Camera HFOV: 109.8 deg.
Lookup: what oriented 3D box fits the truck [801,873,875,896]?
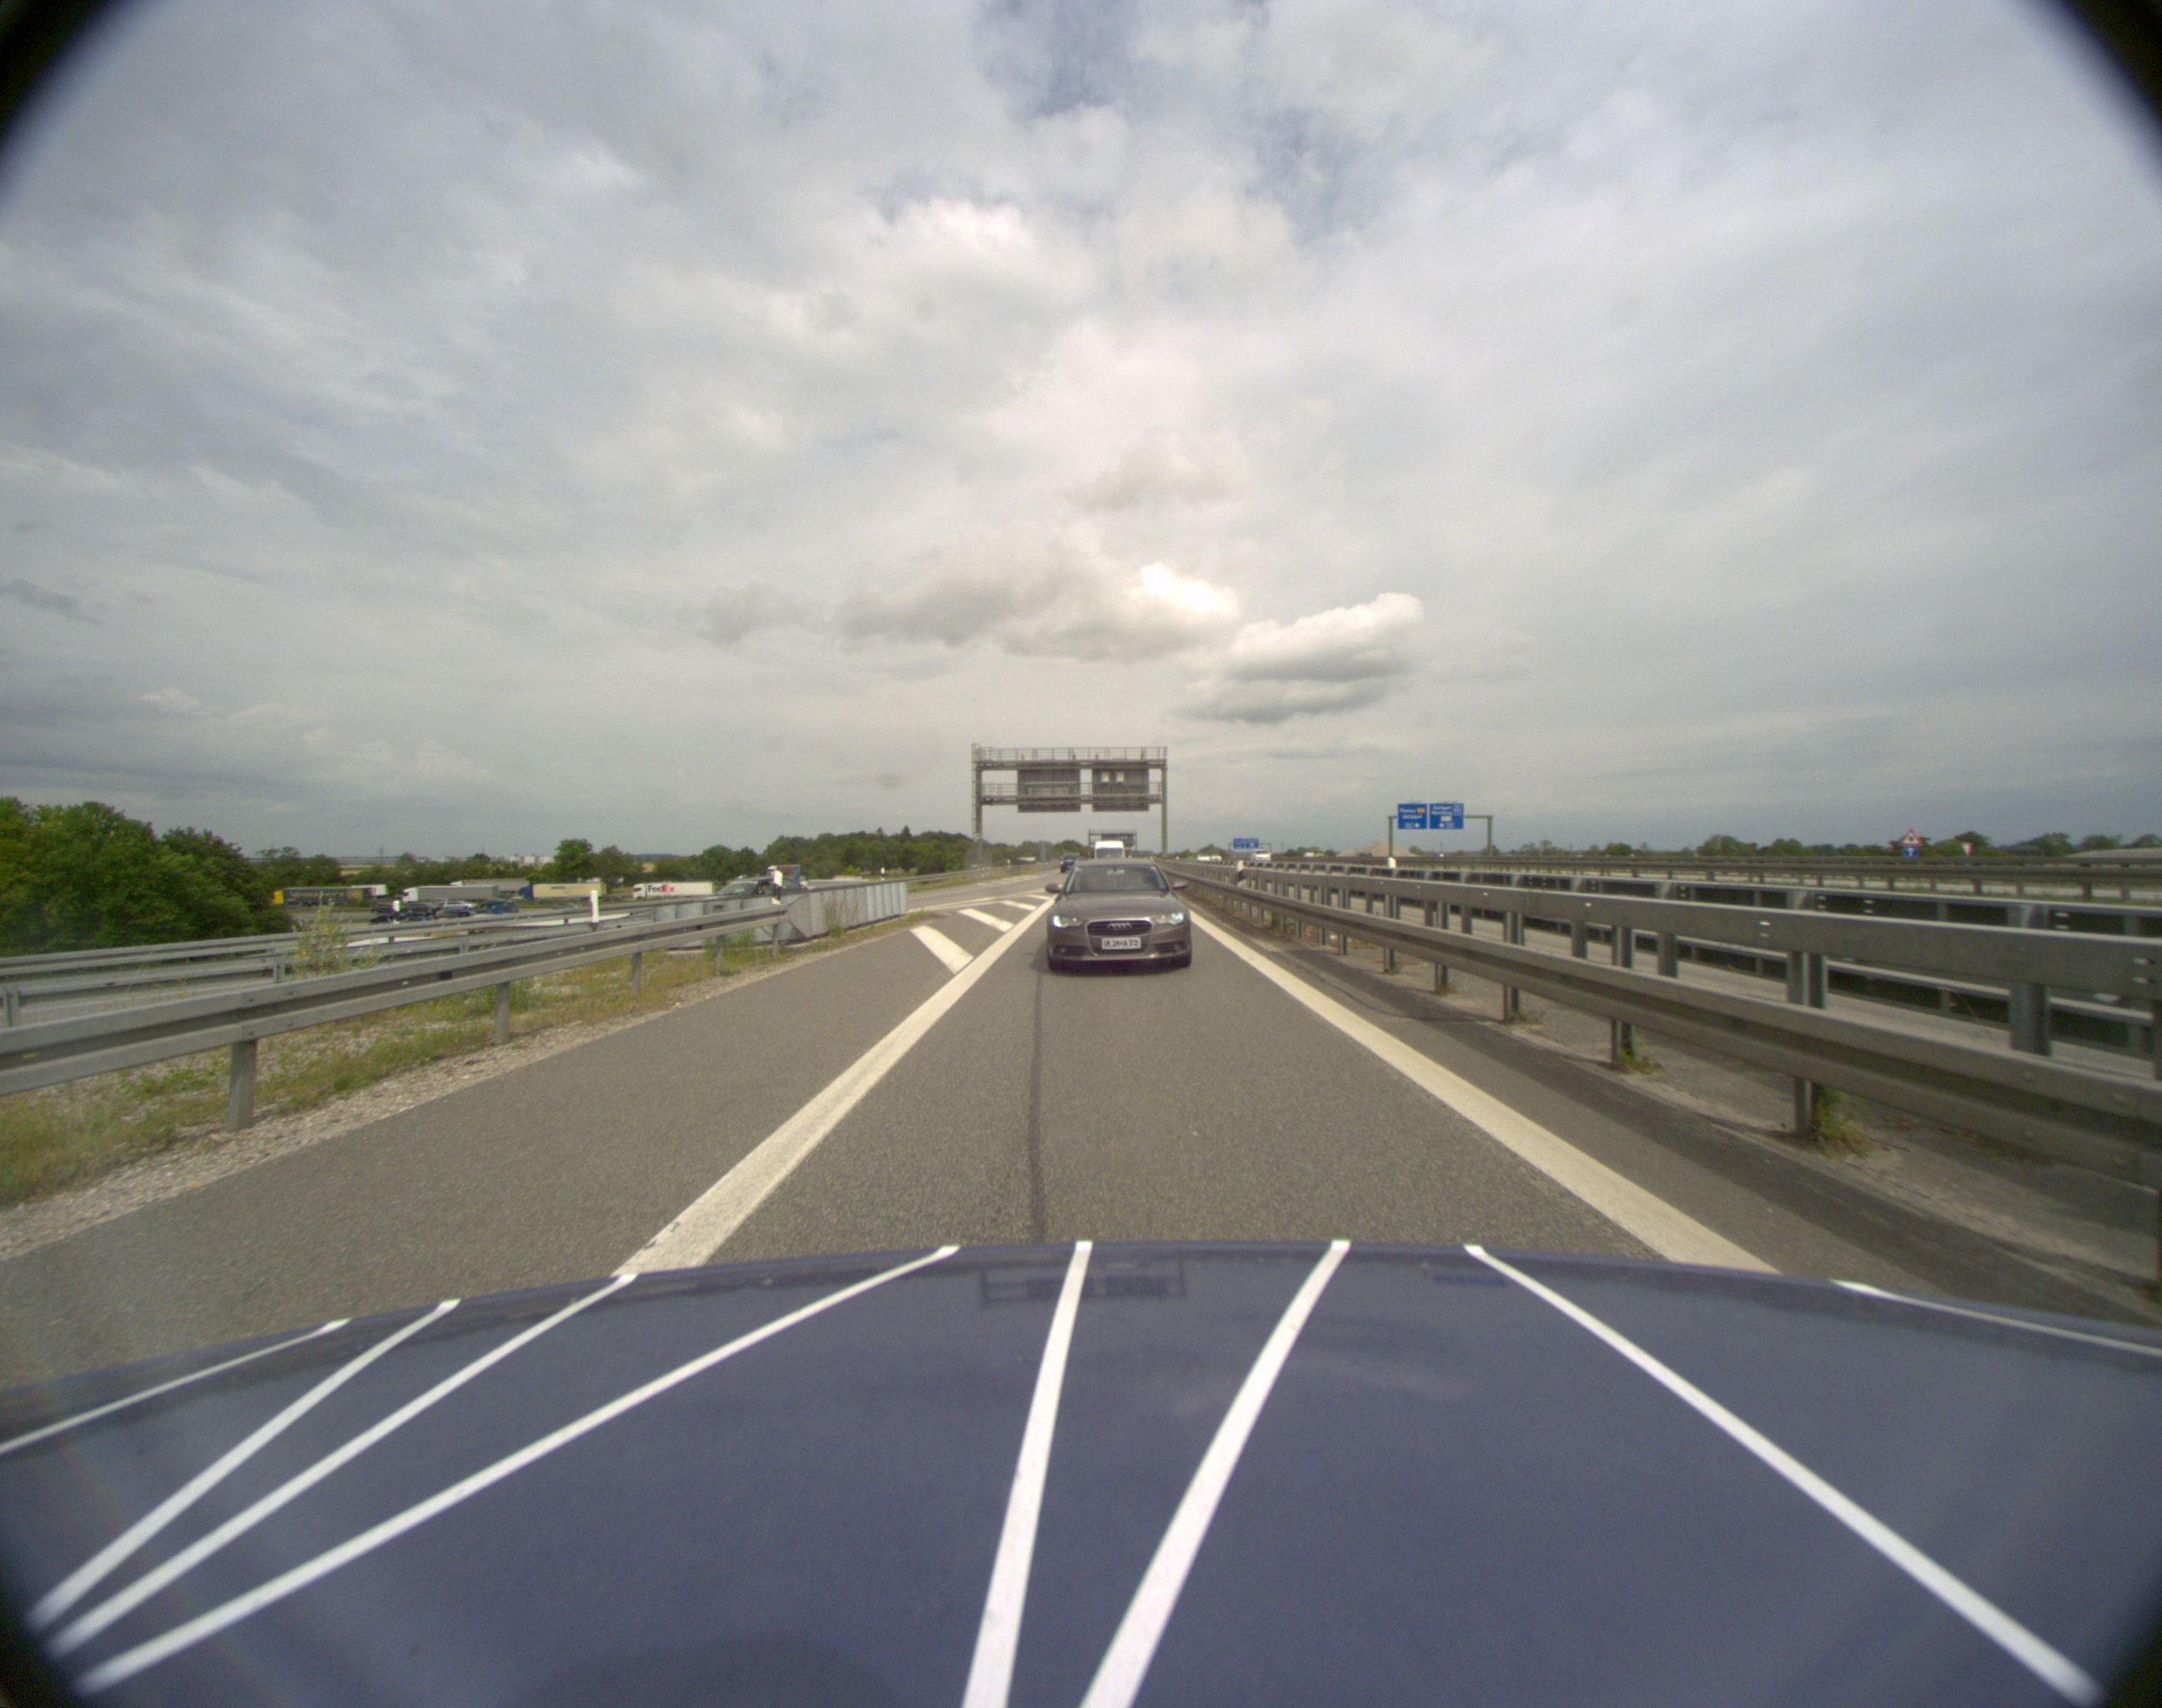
[{"bbox_3d":[-57.394,7.094,179.854,16.175,4.672,3.990,-2,0,-10],"label":"truck"}]

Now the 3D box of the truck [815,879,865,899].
[{"bbox_3d":[-55.449,8.087,175.120,10.787,4.047,3.238,-2,0,-14],"label":"truck"}]

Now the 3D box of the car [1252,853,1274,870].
[{"bbox_3d":[22.681,0.998,94.867,1.998,2.001,4.467,-2,-1,4],"label":"car"}]

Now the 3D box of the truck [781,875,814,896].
[{"bbox_3d":[-66.434,7.335,178.159,6.294,4.647,3.928,-2,0,-11],"label":"truck"}]

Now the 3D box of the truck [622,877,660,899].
[{"bbox_3d":[-99.194,7.666,171.363,6.294,4.484,3.929,-2,0,-10],"label":"truck"}]

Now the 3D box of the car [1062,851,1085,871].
[{"bbox_3d":[-0.716,0.688,71.644,1.929,1.761,4.001,-2,-1,2],"label":"car"}]

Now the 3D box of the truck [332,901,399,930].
[{"bbox_3d":[-111.823,9.588,118.833,6.422,3.968,3.857,-2,1,-14],"label":"truck"}]

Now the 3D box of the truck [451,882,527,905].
[{"bbox_3d":[-153.647,10.182,197.476,3.851,5.183,14.888,-3,-1,43],"label":"truck"}]

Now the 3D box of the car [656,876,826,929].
[{"bbox_3d":[-9.926,1.391,22.560,1.705,1.273,4.374,-3,-1,31],"label":"car"}]

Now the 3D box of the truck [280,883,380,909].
[{"bbox_3d":[-157.327,8.746,159.409,15.305,4.527,4.006,-2,0,-9],"label":"truck"}]

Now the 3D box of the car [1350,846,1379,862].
[{"bbox_3d":[35.460,0.034,95.025,1.998,1.851,4.505,-5,0,3],"label":"car"}]

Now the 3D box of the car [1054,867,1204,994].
[{"bbox_3d":[0.641,0.953,11.071,1.747,1.380,4.000,-2,0,2],"label":"car"}]

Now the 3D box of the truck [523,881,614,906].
[{"bbox_3d":[-113.692,8.697,168.718,16.368,4.527,4.005,-2,0,-11],"label":"truck"}]

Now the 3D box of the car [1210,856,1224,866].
[{"bbox_3d":[25.174,1.335,140.871,1.998,1.870,4.001,-2,-1,2],"label":"car"}]

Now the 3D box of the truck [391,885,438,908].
[{"bbox_3d":[-142.623,9.050,162.732,6.294,4.484,3.929,-2,0,-10],"label":"truck"}]

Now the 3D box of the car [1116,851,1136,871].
[{"bbox_3d":[4.434,0.700,74.308,1.845,1.870,4.290,-2,-1,3],"label":"car"}]

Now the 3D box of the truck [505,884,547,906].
[{"bbox_3d":[-122.024,8.941,167.117,6.294,4.484,3.929,-2,0,-11],"label":"truck"}]

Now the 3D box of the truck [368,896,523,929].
[{"bbox_3d":[-101.184,9.263,121.423,19.053,4.036,3.989,-2,0,-13],"label":"truck"}]

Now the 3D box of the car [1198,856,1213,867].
[{"bbox_3d":[20.451,1.192,124.932,1.998,1.739,4.001,-2,-1,2],"label":"car"}]

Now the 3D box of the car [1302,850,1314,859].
[{"bbox_3d":[58.237,0.184,194.978,1.998,2.292,4.492,-2,-1,3],"label":"car"}]

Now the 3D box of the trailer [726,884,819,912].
[{"bbox_3d":[-52.555,7.448,129.782,14.251,4.075,2.987,-2,0,-11],"label":"trailer"}]

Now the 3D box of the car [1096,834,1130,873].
[{"bbox_3d":[2.145,0.006,51.631,2.119,2.439,6.153,-2,-1,2],"label":"car"}]

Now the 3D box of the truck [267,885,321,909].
[{"bbox_3d":[-163.932,8.958,158.372,6.498,4.471,4.069,-2,0,-9],"label":"truck"}]

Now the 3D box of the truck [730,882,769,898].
[{"bbox_3d":[-74.759,8.100,171.422,7.568,3.178,2.230,-2,0,-10],"label":"truck"}]

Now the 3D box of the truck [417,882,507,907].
[{"bbox_3d":[-133.718,8.718,164.363,14.886,4.527,4.005,-2,0,-10],"label":"truck"}]

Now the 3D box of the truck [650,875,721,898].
[{"bbox_3d":[-89.962,7.275,173.148,13.793,4.527,4.005,-2,0,-11],"label":"truck"}]
